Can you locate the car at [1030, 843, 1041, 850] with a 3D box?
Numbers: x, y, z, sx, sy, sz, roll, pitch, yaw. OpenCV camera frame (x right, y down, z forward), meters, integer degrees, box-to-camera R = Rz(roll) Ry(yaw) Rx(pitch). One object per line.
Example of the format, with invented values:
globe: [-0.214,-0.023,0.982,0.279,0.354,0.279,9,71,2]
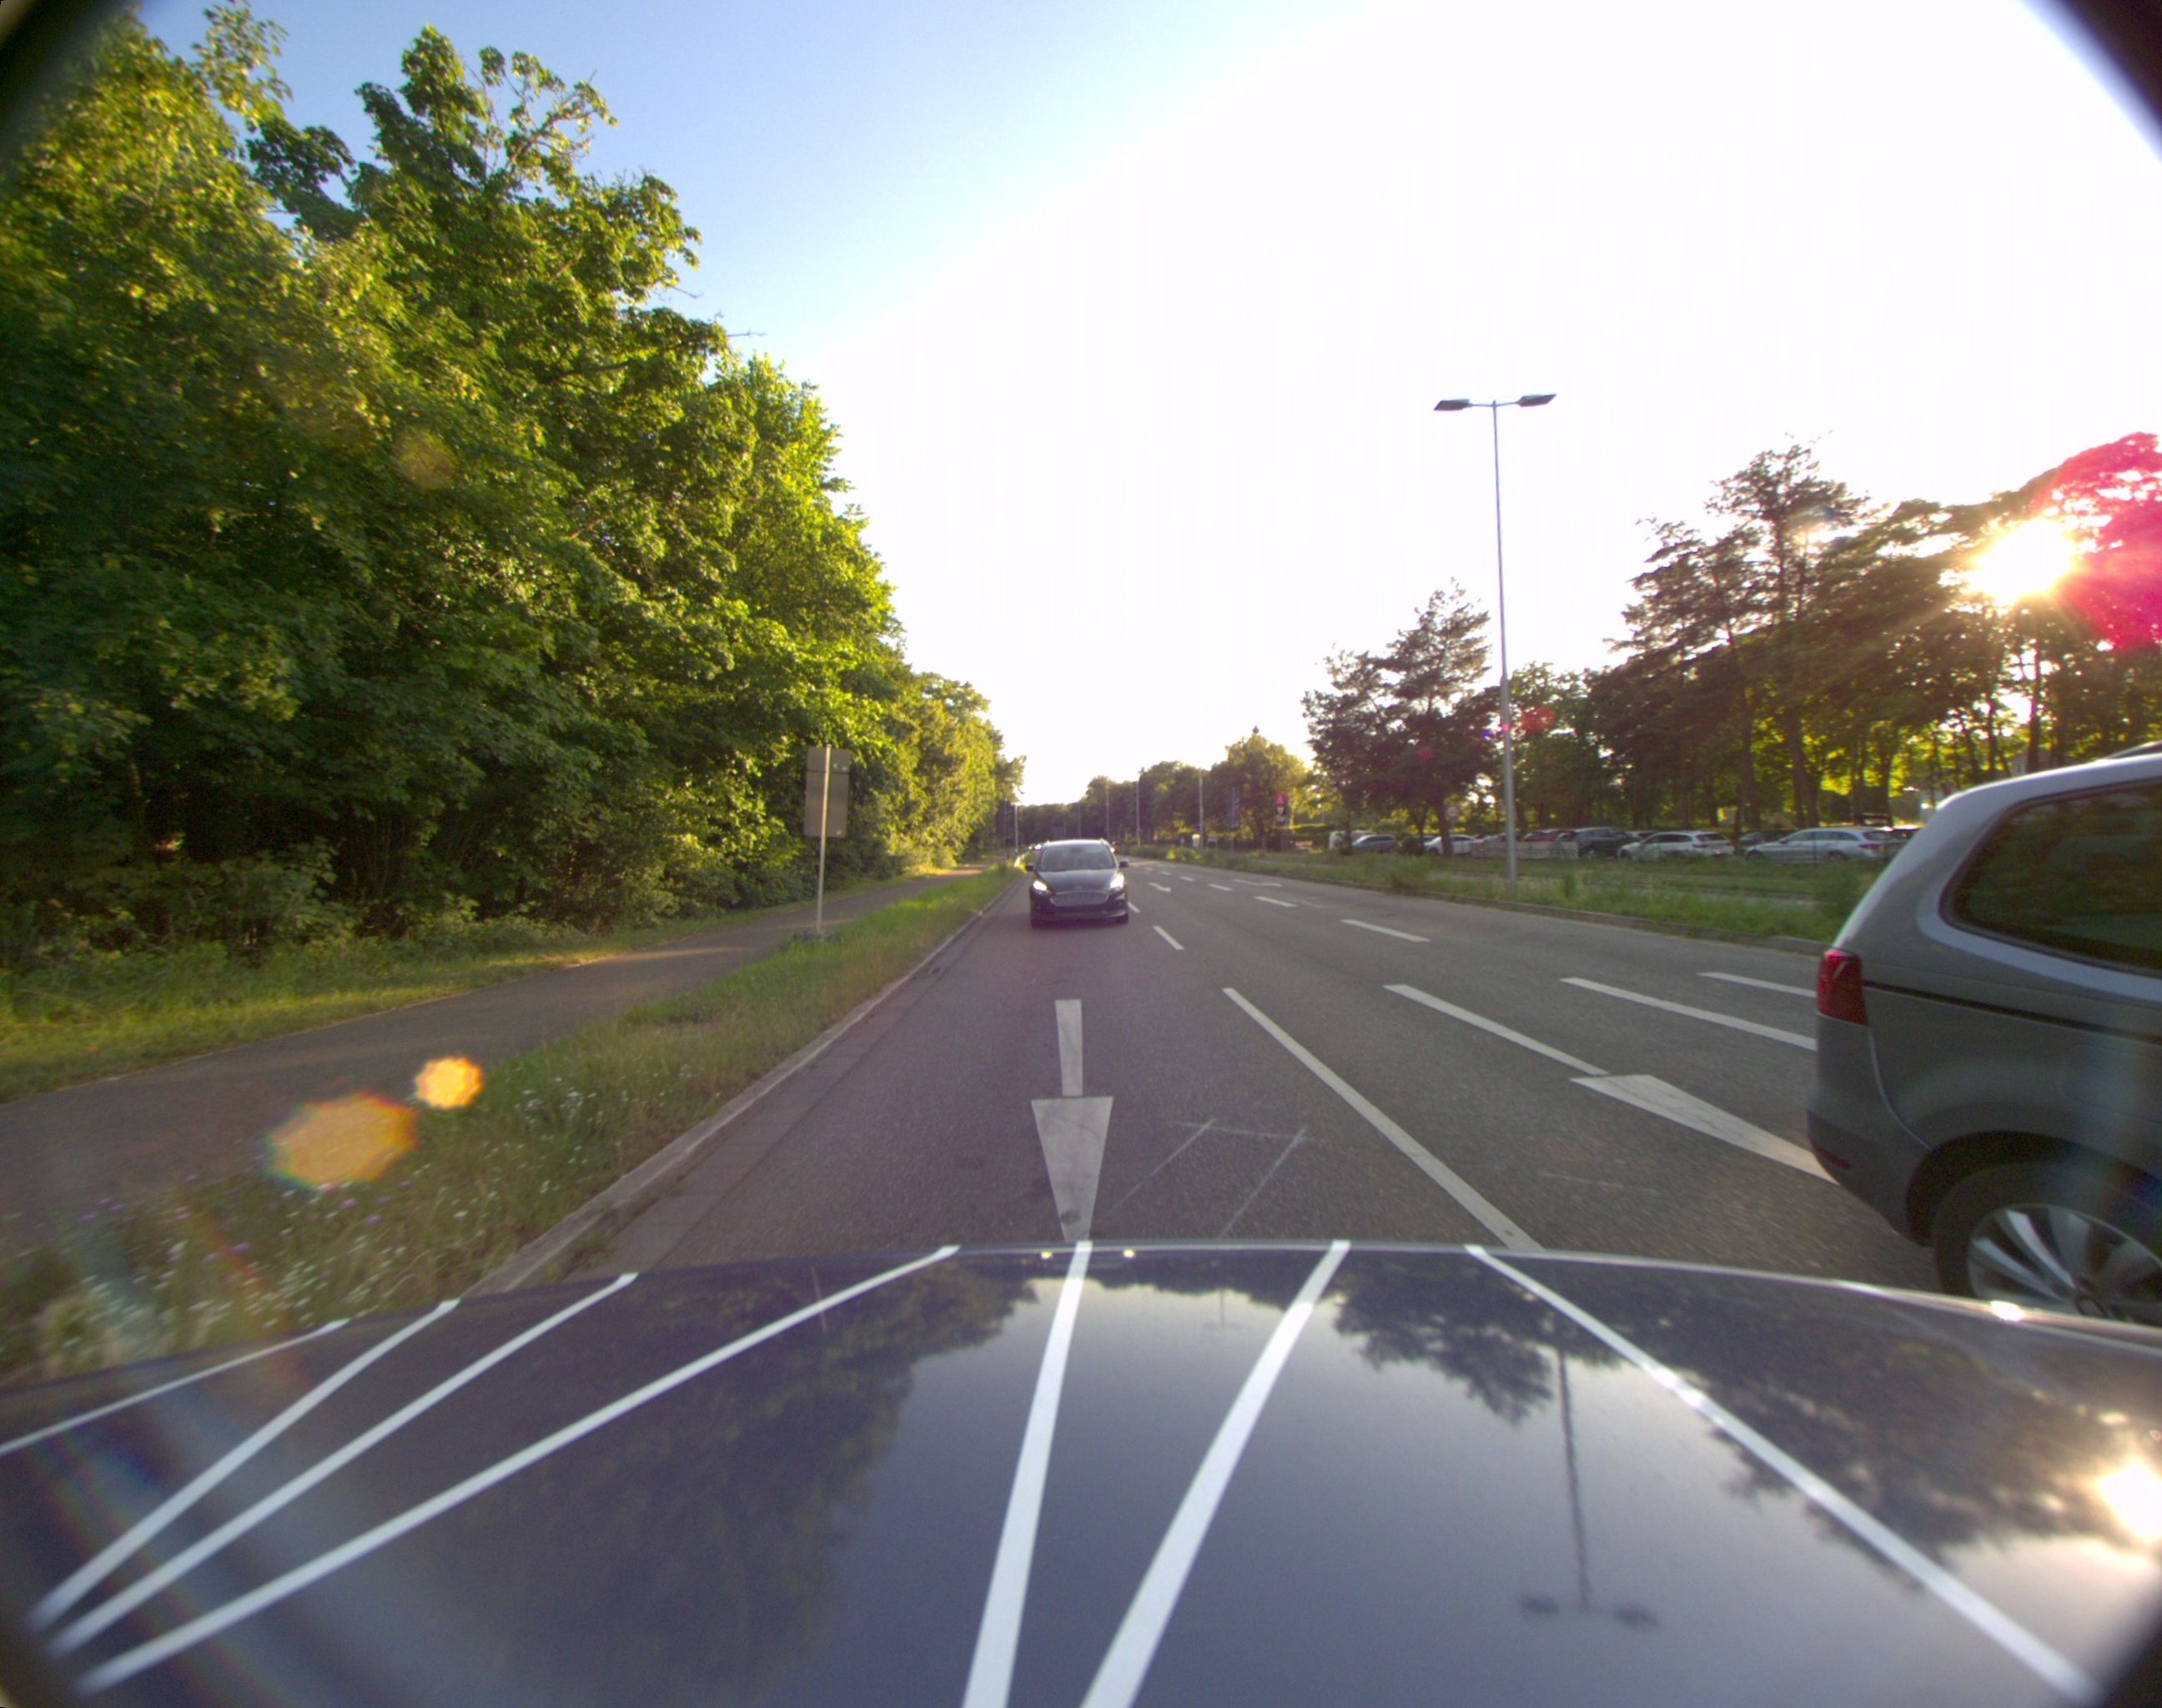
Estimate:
car: [-10.679,-1.751,178.057,1.872,1.397,4.071,-3,1,-11]

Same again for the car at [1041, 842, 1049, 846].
car: [-9.742,-2.695,204.608,1.746,1.281,3.740,-1,1,-10]

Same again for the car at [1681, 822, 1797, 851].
car: [34.189,-0.921,39.666,1.865,1.399,4.545,-1,1,-5]

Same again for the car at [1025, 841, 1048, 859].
car: [-4.365,-0.461,74.806,1.999,1.615,4.395,-2,1,-1]

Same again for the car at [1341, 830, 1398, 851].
car: [23.809,-1.085,62.758,3.997,1.628,1.825,-1,1,0]

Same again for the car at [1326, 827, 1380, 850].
car: [23.509,-1.335,65.840,3.997,1.854,1.825,-1,2,0]

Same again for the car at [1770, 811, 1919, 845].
car: [33.979,-1.130,34.028,1.865,1.399,4.545,-1,1,-5]

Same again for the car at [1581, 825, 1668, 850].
car: [33.242,-0.997,46.652,1.865,1.399,4.545,-1,1,-5]

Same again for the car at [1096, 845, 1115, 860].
car: [2.594,-0.202,81.516,1.871,1.397,4.074,-3,1,-1]

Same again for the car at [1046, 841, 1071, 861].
car: [-1.909,-0.302,65.785,1.999,1.615,4.395,-2,1,-1]

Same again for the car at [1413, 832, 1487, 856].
car: [24.782,-0.669,51.083,4.169,1.470,1.782,-1,1,-3]

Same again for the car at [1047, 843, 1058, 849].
car: [-6.209,-1.738,164.513,1.872,1.397,4.072,-3,1,-9]

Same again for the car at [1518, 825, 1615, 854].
car: [25.888,-0.776,40.602,3.998,1.445,1.999,-1,1,-3]

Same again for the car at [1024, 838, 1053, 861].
car: [-3.165,-0.379,57.405,1.999,1.615,4.395,-2,1,-1]

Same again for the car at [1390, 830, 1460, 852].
car: [24.422,-0.934,53.977,4.169,1.470,1.782,-1,1,-3]

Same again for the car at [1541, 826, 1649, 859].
car: [25.040,-0.555,37.098,4.047,1.470,1.761,-1,1,1]

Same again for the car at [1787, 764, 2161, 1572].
car: [3.229,0.673,0.125,1.871,1.715,4.658,-1,1,-1]

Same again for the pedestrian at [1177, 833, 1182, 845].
pedestrian: [14.556,-2.152,111.846,0.567,1.736,0.676,-3,1,0]

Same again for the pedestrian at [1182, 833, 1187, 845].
pedestrian: [15.188,-2.195,111.862,0.567,1.765,0.676,-3,1,0]

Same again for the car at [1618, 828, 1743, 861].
car: [26.077,-0.429,33.270,1.679,1.317,4.496,-1,1,-5]

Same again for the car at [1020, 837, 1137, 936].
car: [-0.112,0.564,16.068,2.011,1.651,4.820,-4,1,-2]

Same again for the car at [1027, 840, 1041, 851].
car: [-7.643,-1.452,123.911,1.999,1.615,4.395,-2,1,-1]

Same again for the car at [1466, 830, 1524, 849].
car: [32.400,-1.166,59.605,1.865,1.399,4.545,-1,1,-5]
